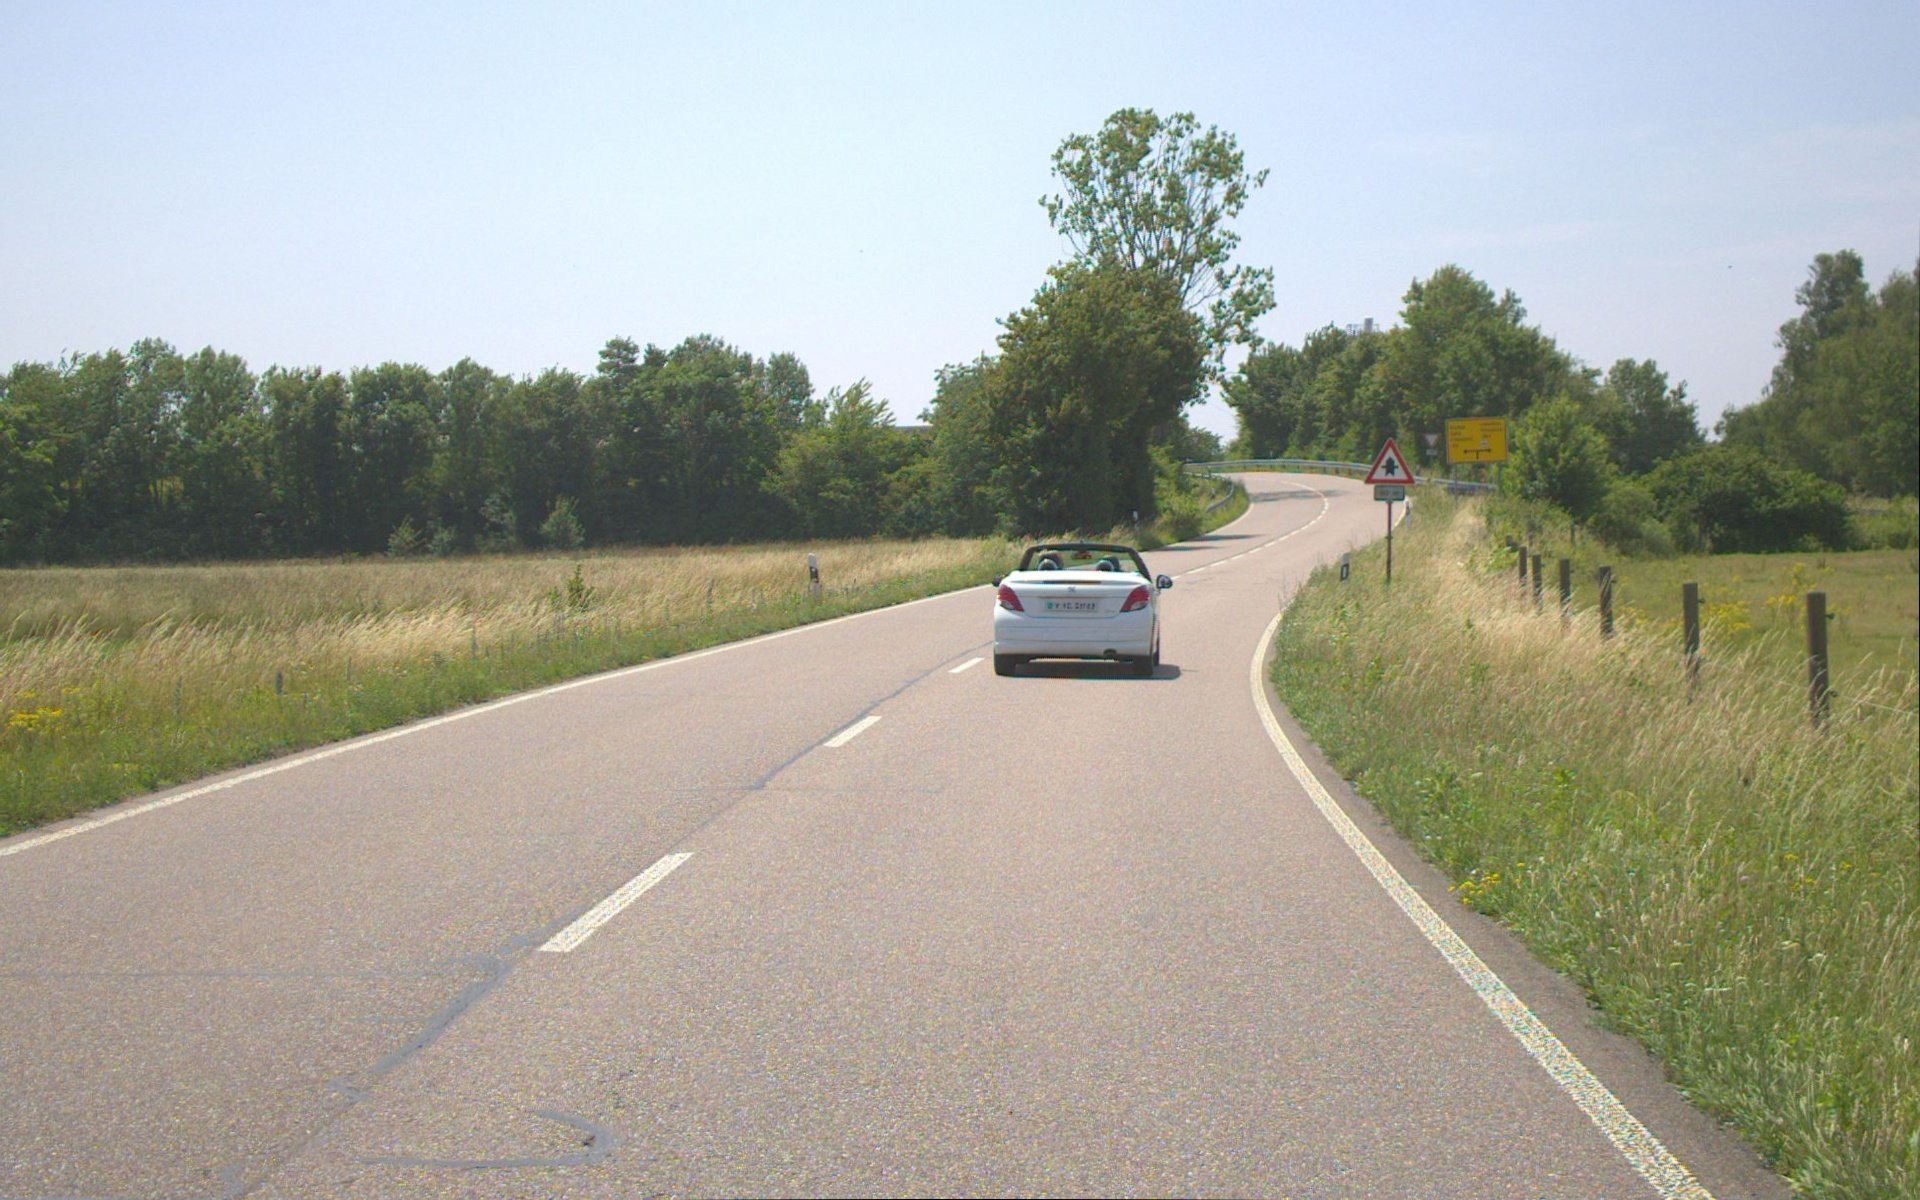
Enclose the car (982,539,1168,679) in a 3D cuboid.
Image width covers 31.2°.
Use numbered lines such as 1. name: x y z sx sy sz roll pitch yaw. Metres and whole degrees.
1. car: 1.299 0.059 37.332 1.851 1.374 4.000 0 2 4
